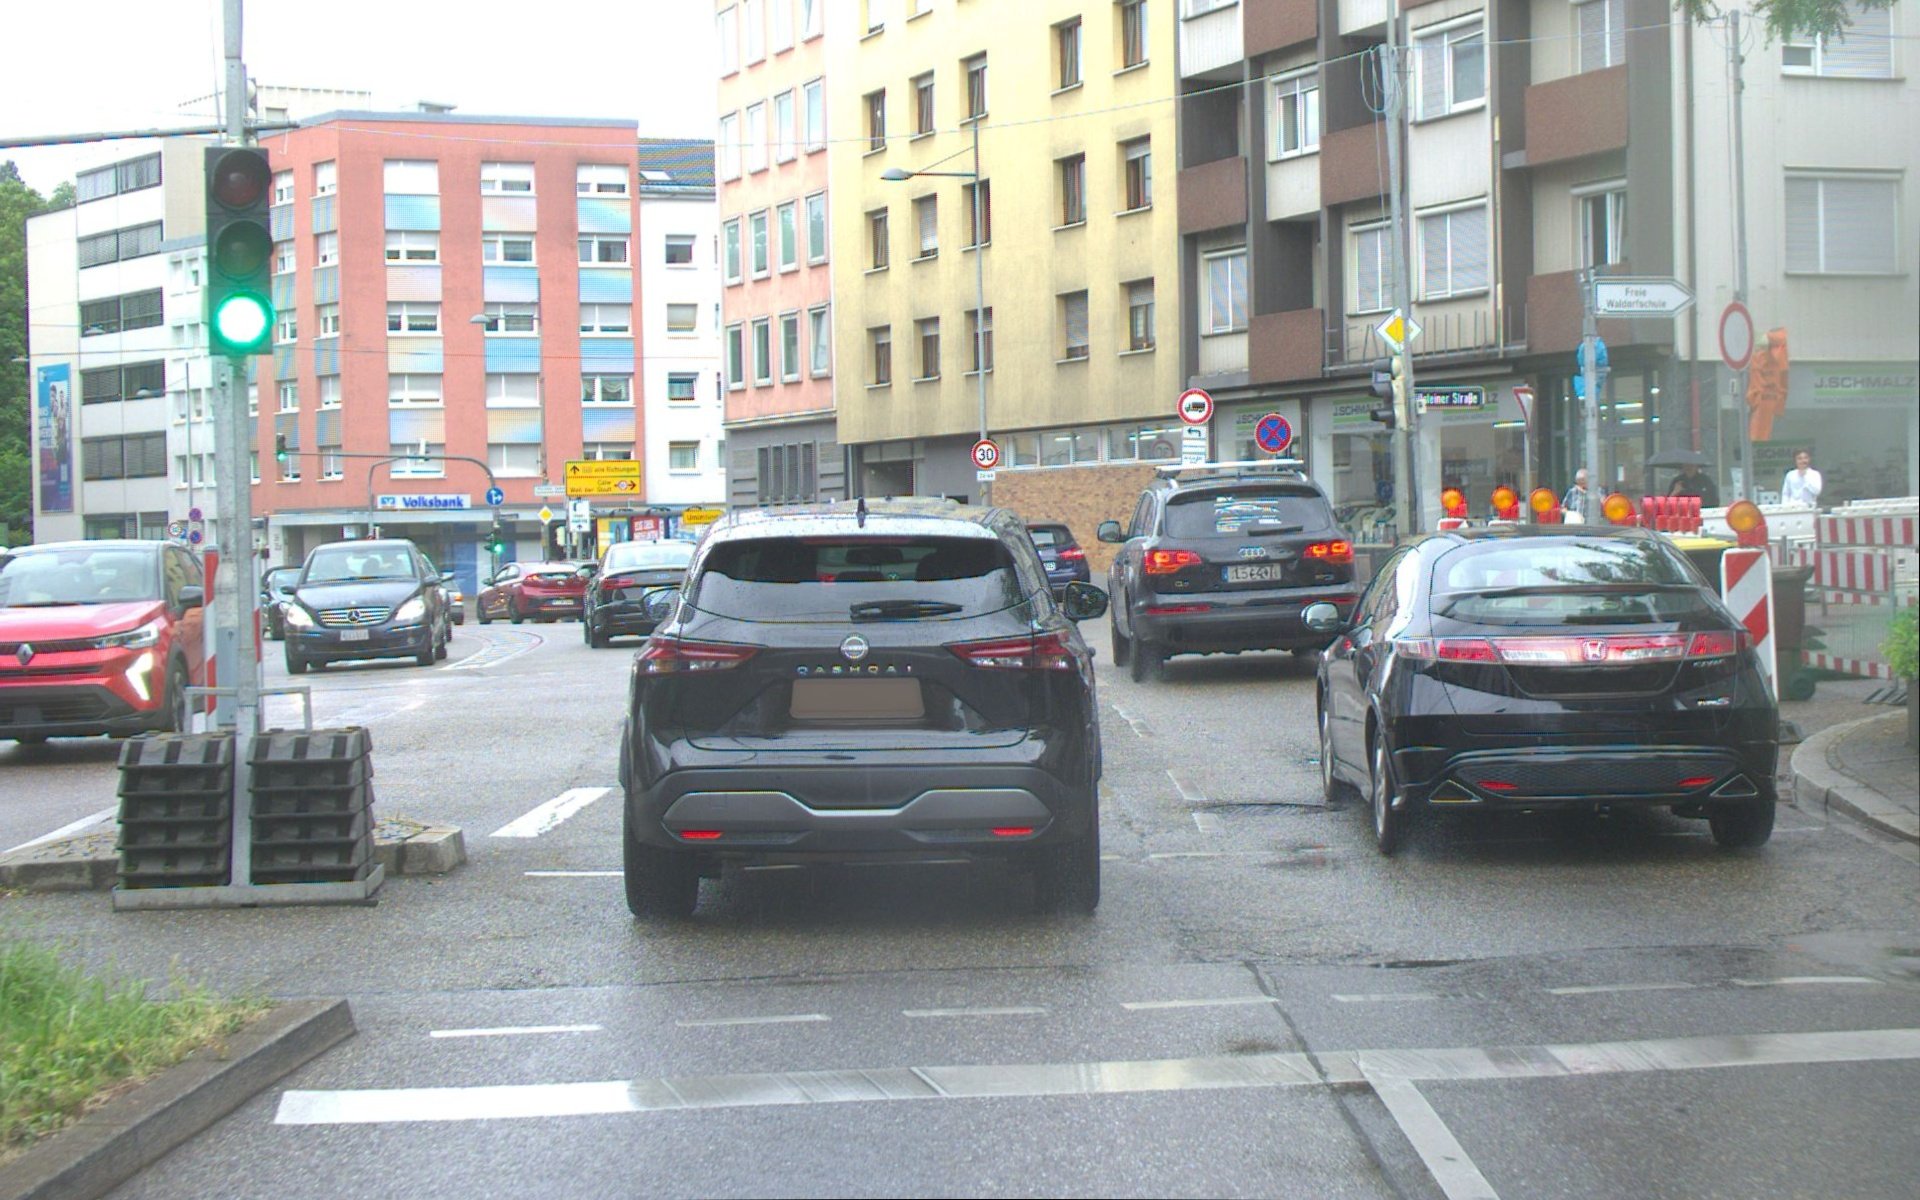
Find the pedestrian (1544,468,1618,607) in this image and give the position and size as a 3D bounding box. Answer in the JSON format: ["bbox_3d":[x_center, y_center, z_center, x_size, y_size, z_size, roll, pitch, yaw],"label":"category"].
[{"bbox_3d":[7.793,-0.773,43.127,0.792,1.682,0.821,-3,-1,13],"label":"pedestrian"}]

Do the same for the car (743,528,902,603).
[{"bbox_3d":[-2.862,-0.700,70.648,1.993,1.481,4.001,0,0,-22],"label":"car"}]

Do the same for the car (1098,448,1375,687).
[{"bbox_3d":[2.314,-0.347,29.979,2.021,1.863,4.900,-1,2,1],"label":"car"}]

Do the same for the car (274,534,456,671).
[{"bbox_3d":[-7.368,-0.012,42.912,1.829,1.538,4.285,-2,1,-5],"label":"car"}]

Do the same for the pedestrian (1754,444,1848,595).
[{"bbox_3d":[10.670,-1.024,43.614,0.657,1.873,0.991,-4,-1,44],"label":"pedestrian"}]

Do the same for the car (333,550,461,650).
[{"bbox_3d":[-9.158,-0.037,55.659,1.852,1.469,4.649,-3,1,-11],"label":"car"}]

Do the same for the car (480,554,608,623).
[{"bbox_3d":[-9.504,-0.280,78.277,1.993,1.525,4.001,0,0,-21],"label":"car"}]

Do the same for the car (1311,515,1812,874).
[{"bbox_3d":[2.720,0.347,16.405,1.784,1.491,4.056,0,1,2],"label":"car"}]

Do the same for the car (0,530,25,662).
[{"bbox_3d":[-16.020,-0.041,54.760,2.118,2.008,5.130,1,-1,-16],"label":"car"}]

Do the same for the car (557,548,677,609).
[{"bbox_3d":[-8.721,-0.552,87.188,1.993,1.514,4.001,0,0,-22],"label":"car"}]

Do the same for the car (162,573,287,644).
[{"bbox_3d":[-16.677,0.189,77.827,1.983,1.454,4.486,-4,1,-21],"label":"car"}]

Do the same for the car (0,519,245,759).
[{"bbox_3d":[-6.478,0.238,25.353,1.846,1.588,4.092,-2,1,-5],"label":"car"}]

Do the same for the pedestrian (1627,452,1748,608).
[{"bbox_3d":[9.006,-0.868,42.568,0.917,1.854,1.031,-2,-1,-43],"label":"pedestrian"}]

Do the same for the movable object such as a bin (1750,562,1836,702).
[{"bbox_3d":[5.825,0.218,24.050,0.419,0.926,0.532,-3,3,-3],"label":"movable object such as a bin"}]

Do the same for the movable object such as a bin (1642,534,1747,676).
[{"bbox_3d":[5.589,0.030,26.176,0.620,1.028,0.532,-3,3,-3],"label":"movable object such as a bin"}]

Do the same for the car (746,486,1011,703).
[{"bbox_3d":[-0.642,-0.095,30.280,1.946,1.679,4.000,-3,1,3],"label":"car"}]

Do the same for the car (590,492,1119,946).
[{"bbox_3d":[-0.422,0.388,14.379,1.894,1.623,4.000,0,1,-1],"label":"car"}]

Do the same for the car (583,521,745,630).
[{"bbox_3d":[-4.079,-0.334,46.787,1.993,1.383,4.501,1,0,-7],"label":"car"}]

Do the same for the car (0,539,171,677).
[{"bbox_3d":[-10.722,0.060,41.598,1.772,1.518,4.285,-2,1,-7],"label":"car"}]
